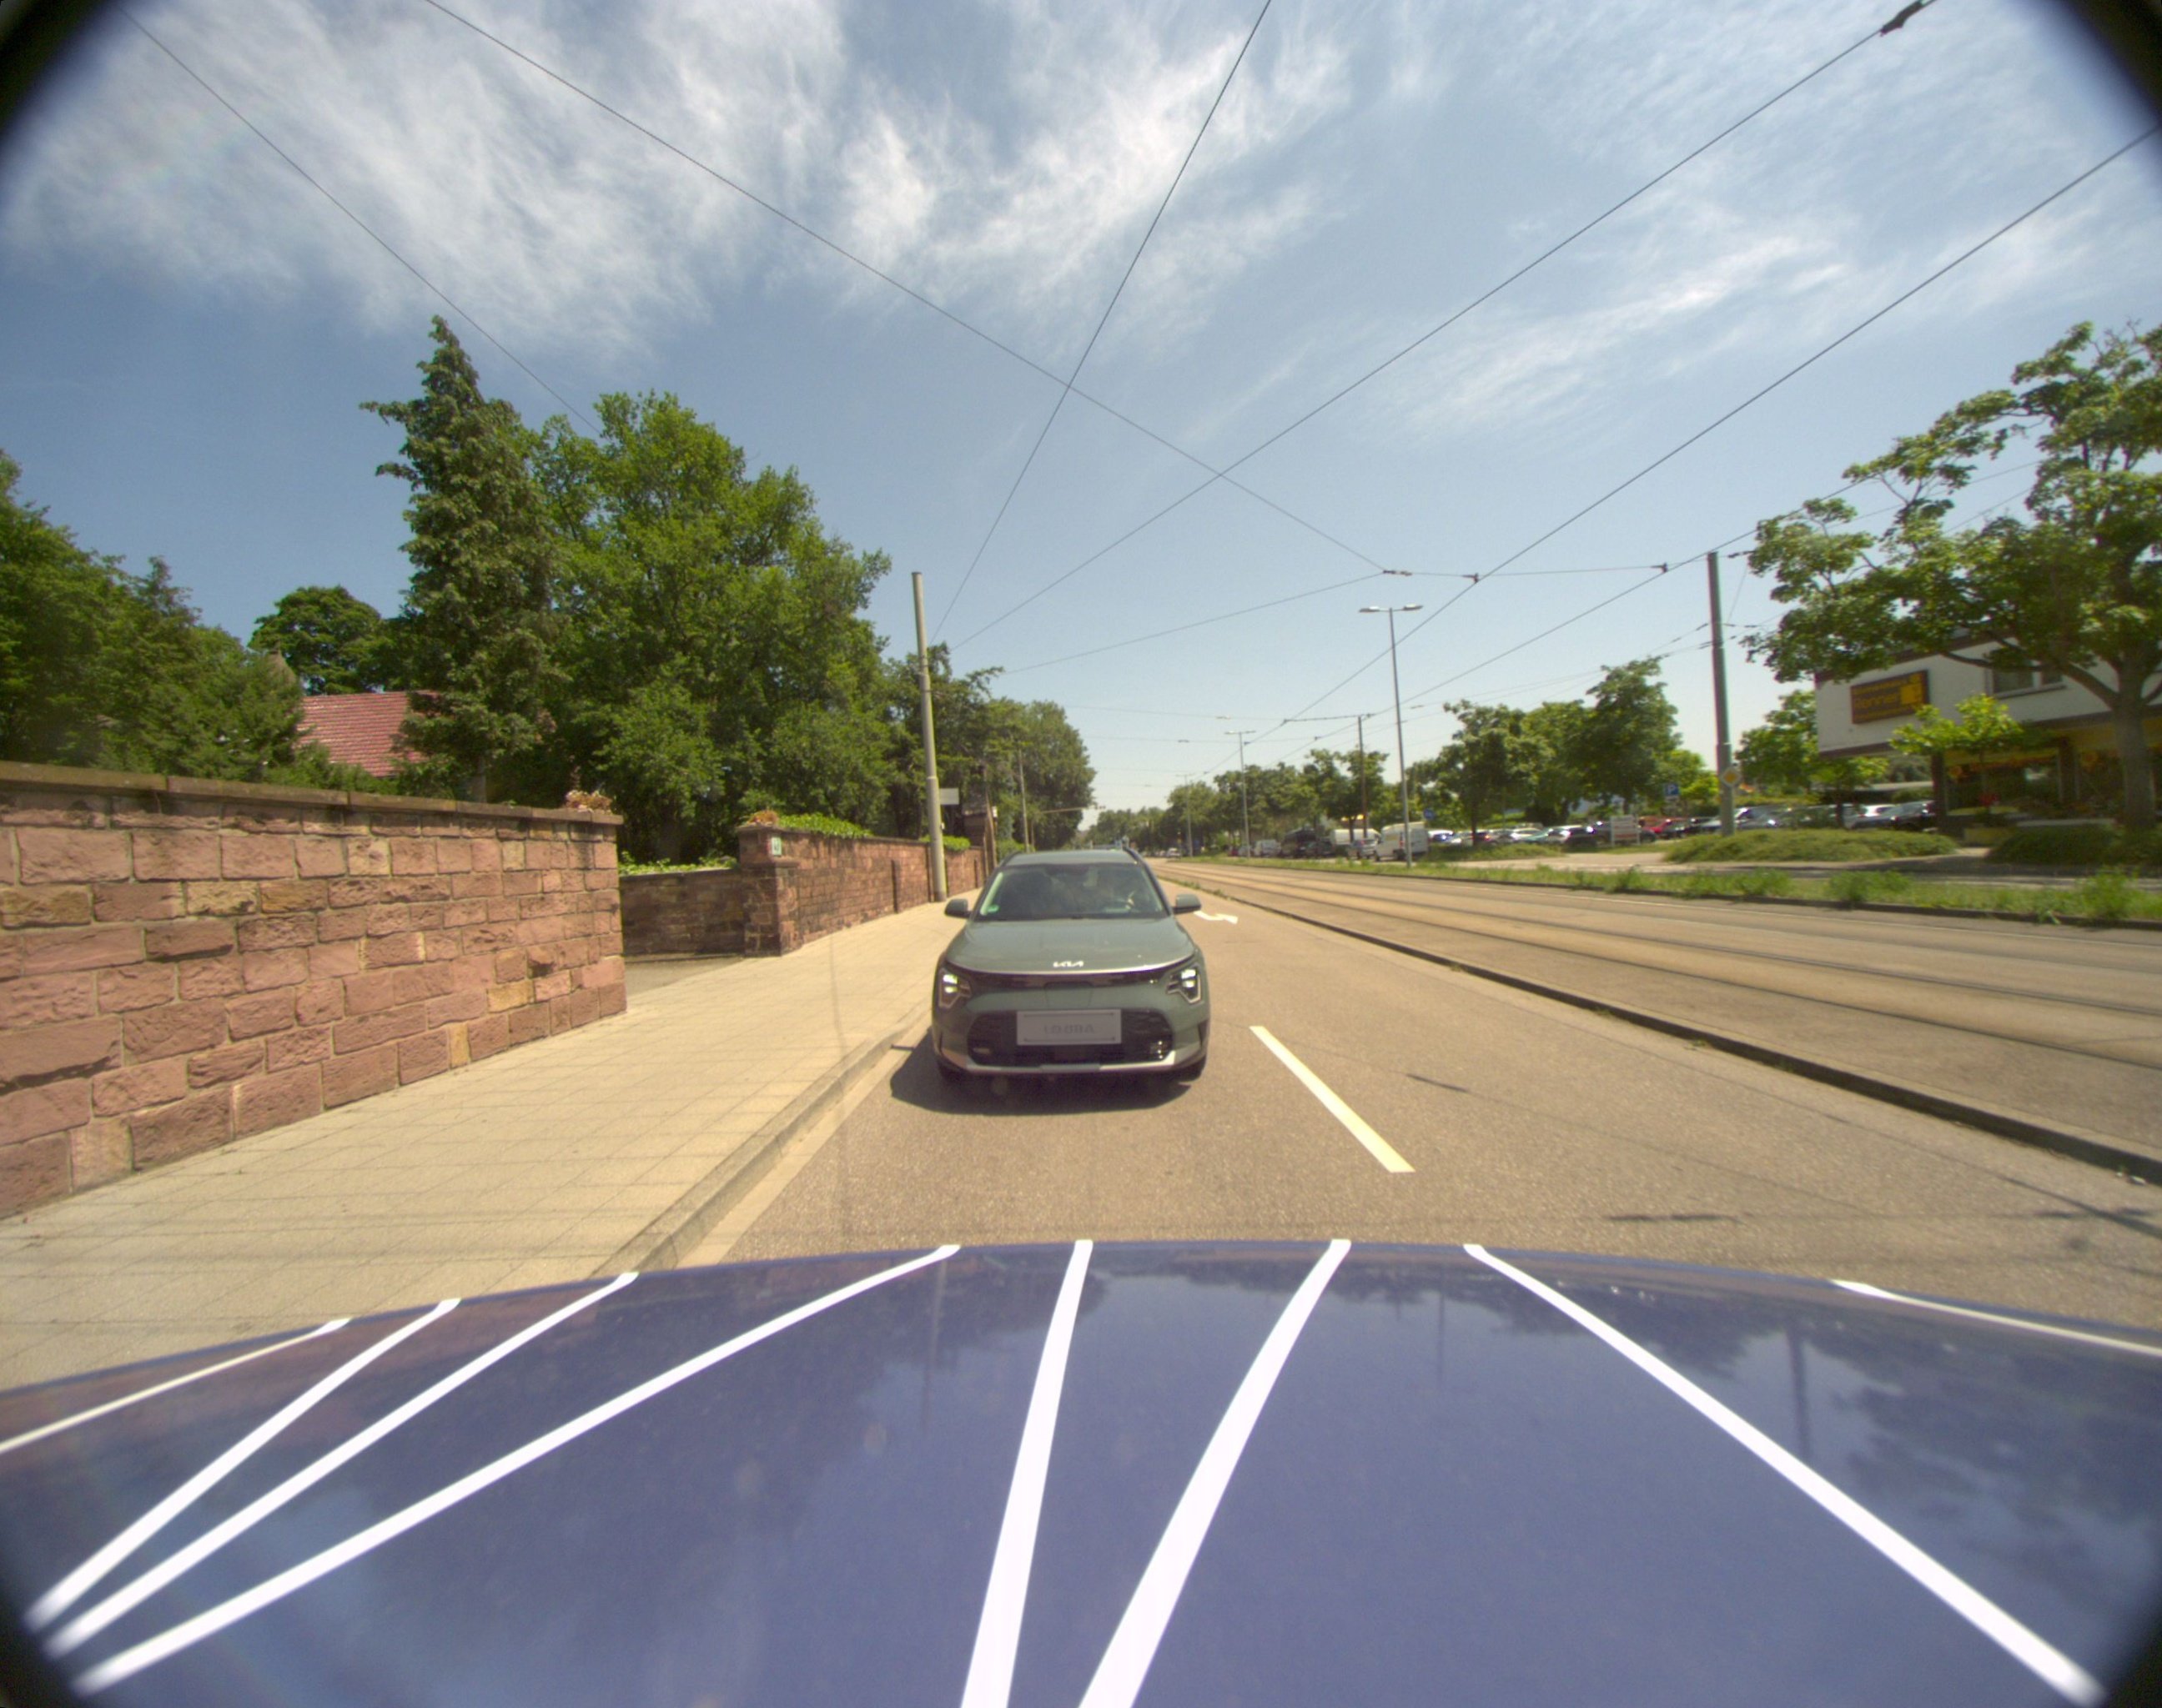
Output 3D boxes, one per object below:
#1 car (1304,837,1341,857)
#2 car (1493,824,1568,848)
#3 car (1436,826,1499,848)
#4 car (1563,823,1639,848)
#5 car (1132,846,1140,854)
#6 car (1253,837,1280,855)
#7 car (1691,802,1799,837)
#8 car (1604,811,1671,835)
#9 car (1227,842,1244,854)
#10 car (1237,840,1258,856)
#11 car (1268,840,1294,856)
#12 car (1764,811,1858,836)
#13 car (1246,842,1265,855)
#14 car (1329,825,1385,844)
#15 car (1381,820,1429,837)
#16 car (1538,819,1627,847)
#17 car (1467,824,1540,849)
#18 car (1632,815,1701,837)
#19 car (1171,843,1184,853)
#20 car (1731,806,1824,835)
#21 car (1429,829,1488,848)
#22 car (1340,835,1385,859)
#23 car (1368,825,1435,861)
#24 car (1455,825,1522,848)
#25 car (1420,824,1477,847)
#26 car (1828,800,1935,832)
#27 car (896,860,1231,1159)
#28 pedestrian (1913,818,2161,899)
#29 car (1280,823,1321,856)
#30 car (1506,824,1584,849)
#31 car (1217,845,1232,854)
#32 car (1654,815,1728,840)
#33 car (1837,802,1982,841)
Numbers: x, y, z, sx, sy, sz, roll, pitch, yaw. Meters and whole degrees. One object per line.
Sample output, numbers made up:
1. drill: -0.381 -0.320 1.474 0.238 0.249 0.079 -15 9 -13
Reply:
1. car: 20.353 -0.581 64.120 1.976 1.568 3.751 -2 1 1
2. car: 30.969 -1.224 52.414 4.146 1.481 1.859 -2 1 -6
3. car: 30.547 -1.335 60.150 3.999 1.480 1.866 -3 1 -6
4. car: 30.570 -1.082 44.707 3.423 1.225 1.643 -3 1 -6
5. car: 15.387 -1.116 213.309 1.821 1.979 4.212 -2 1 -3
6. car: 20.606 -0.915 84.384 1.924 1.937 4.816 -2 1 2
7. car: 43.397 -2.240 49.735 5.120 2.058 2.226 -2 1 1
8. car: 43.768 -2.403 59.750 4.129 1.643 1.692 -3 1 -5
9. car: 20.534 -0.801 101.184 1.582 1.472 3.423 -2 1 3
10. car: 20.733 -0.794 94.624 1.635 1.882 4.496 -2 1 1
11. car: 20.627 -0.636 78.536 1.767 1.456 3.608 -2 1 2
12. car: 42.798 -1.751 44.619 3.724 1.277 1.764 -2 1 3
13. car: 20.640 -0.693 89.926 1.429 1.470 3.262 -2 1 1
14. car: 30.692 -2.184 84.702 5.434 1.945 2.029 -2 1 2
15. car: 44.640 -3.522 104.771 5.744 2.051 2.147 -2 1 -2
16. car: 31.165 -1.270 47.273 4.171 1.481 1.984 -3 1 -1
17. car: 30.462 -1.259 54.826 4.163 1.481 2.022 -3 1 -6
18. car: 44.268 -2.075 57.473 3.999 1.486 1.715 -2 1 -5
19. car: 16.647 -0.980 131.477 1.728 1.601 4.569 -2 1 2
20. car: 43.307 -2.072 47.315 3.996 1.647 1.803 -2 1 3
21. car: 31.206 -1.294 62.913 3.998 1.398 1.797 -2 0 -3
22. car: 20.137 -0.498 54.440 1.654 1.494 4.125 -6 1 1
23. car: 20.145 -0.694 48.057 1.880 1.999 5.343 -6 1 1
24. car: 30.895 -1.315 57.657 4.075 1.481 1.831 -3 1 -6
25. car: 31.653 -1.558 65.566 3.998 1.708 1.797 -3 1 -3
26. car: 43.943 -2.068 41.753 3.996 1.511 1.661 -2 1 3
27. car: -0.106 0.882 6.377 1.824 1.577 4.287 -2 0 0
28. pedestrian: 26.731 0.073 21.502 1.998 2.002 3.999 -2 1 0
29. car: 20.273 -1.323 70.473 2.244 2.822 5.667 -2 1 1
30. car: 30.445 -1.134 49.959 4.040 1.481 1.911 -2 1 -6
31. car: 21.358 -0.707 113.205 1.582 1.152 3.423 -2 1 3
32. car: 43.873 -1.904 54.705 3.997 1.576 1.684 -2 1 -1
33. car: 34.088 -1.310 31.331 3.996 1.289 1.682 -4 0 2
